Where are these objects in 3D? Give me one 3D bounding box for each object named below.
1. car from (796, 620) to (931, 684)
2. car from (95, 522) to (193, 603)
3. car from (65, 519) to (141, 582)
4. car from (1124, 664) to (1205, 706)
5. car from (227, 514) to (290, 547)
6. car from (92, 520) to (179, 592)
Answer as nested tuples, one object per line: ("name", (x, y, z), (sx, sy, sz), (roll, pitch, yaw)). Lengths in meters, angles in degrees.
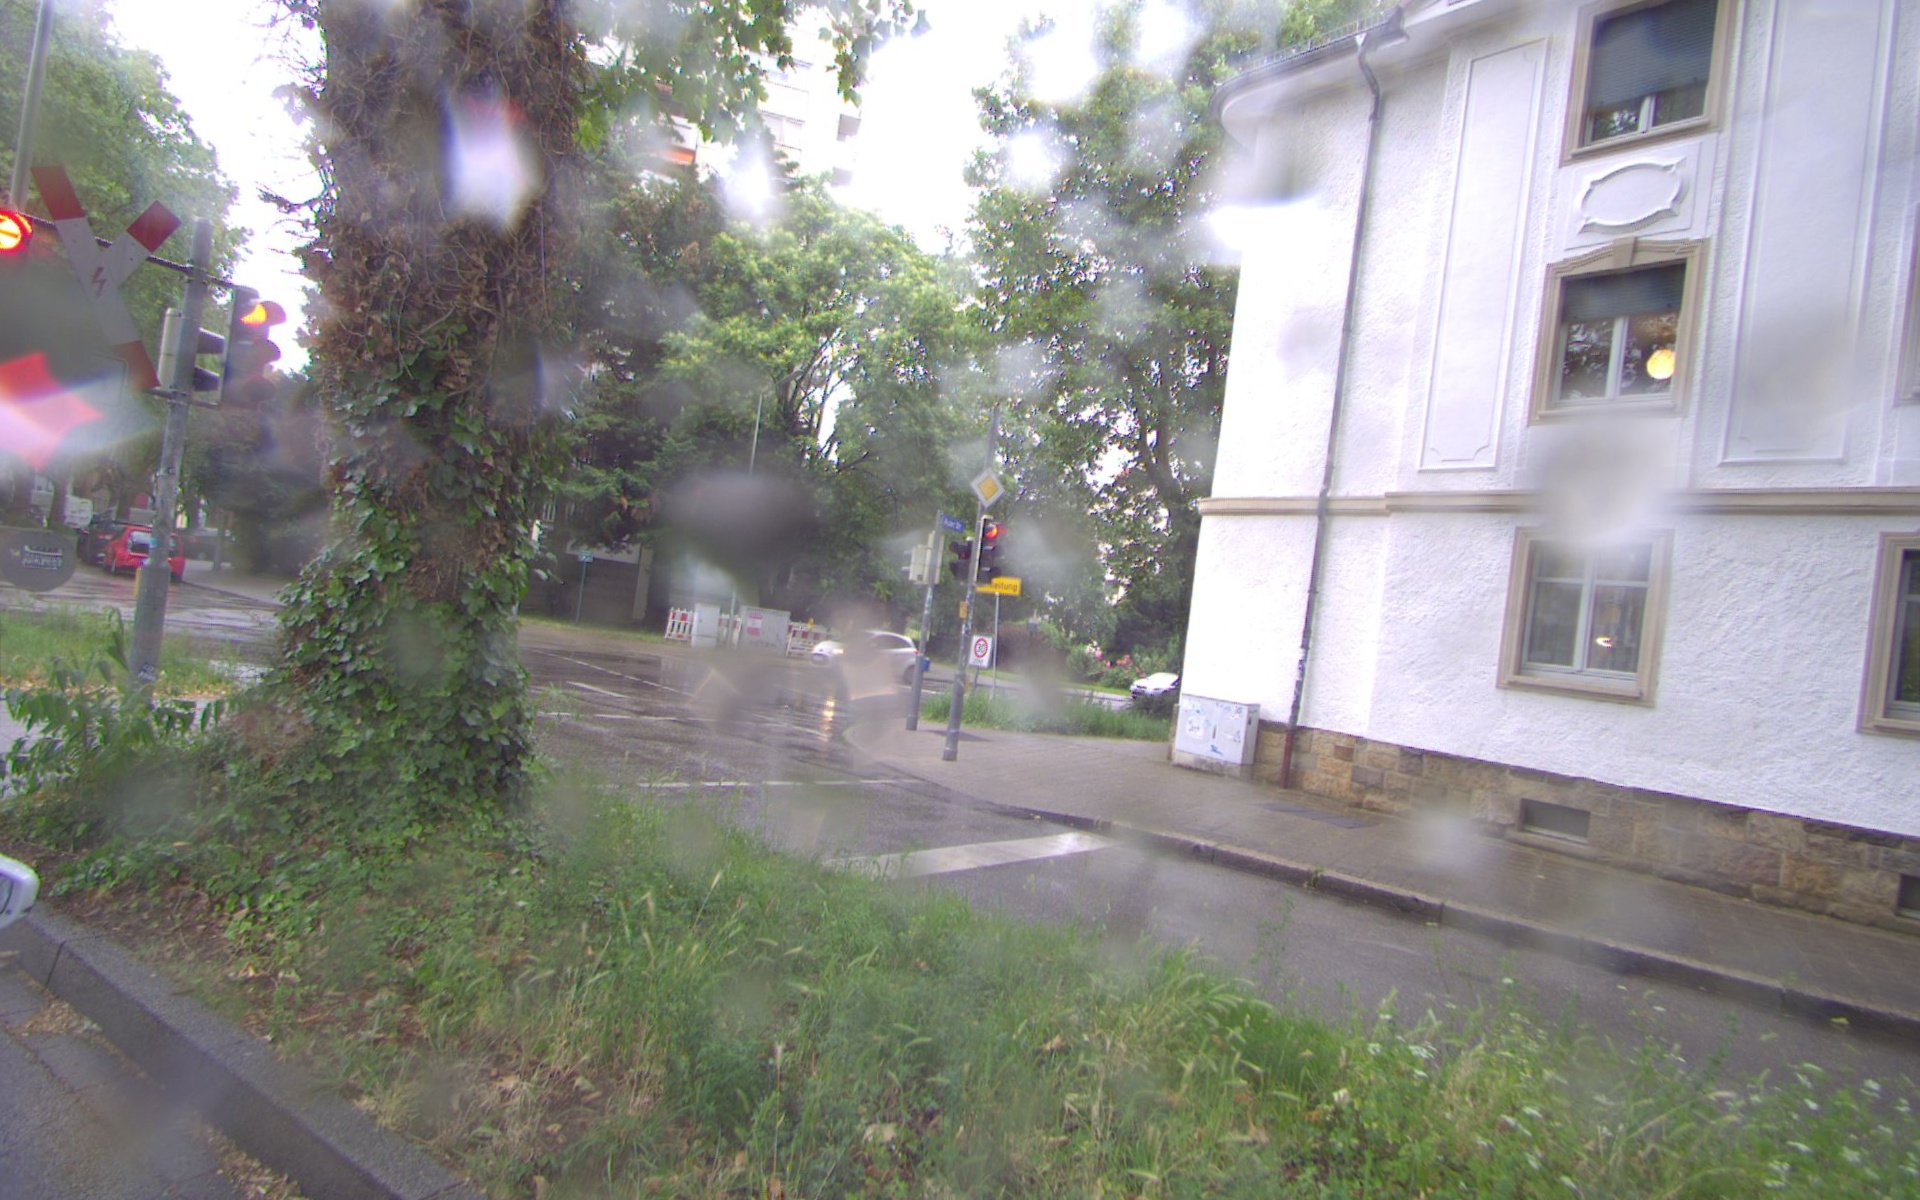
("car", (-2.843, 1.582, 30.140), (3.631, 1.504, 1.703), (8, 0, -44))
("car", (-24.877, -1.162, 30.618), (1.986, 2.038, 3.953), (7, 0, -42))
("car", (-32.926, -1.923, 38.618), (1.986, 2.038, 3.953), (7, 0, -42))
("car", (9.306, 3.867, 45.649), (3.630, 1.504, 1.704), (8, 0, -43))
("car", (-57.114, -5.646, 81.890), (3.969, 2.038, 1.689), (7, 0, -39))
("car", (-27.880, -1.514, 33.968), (1.986, 2.038, 3.953), (7, 0, -42))
